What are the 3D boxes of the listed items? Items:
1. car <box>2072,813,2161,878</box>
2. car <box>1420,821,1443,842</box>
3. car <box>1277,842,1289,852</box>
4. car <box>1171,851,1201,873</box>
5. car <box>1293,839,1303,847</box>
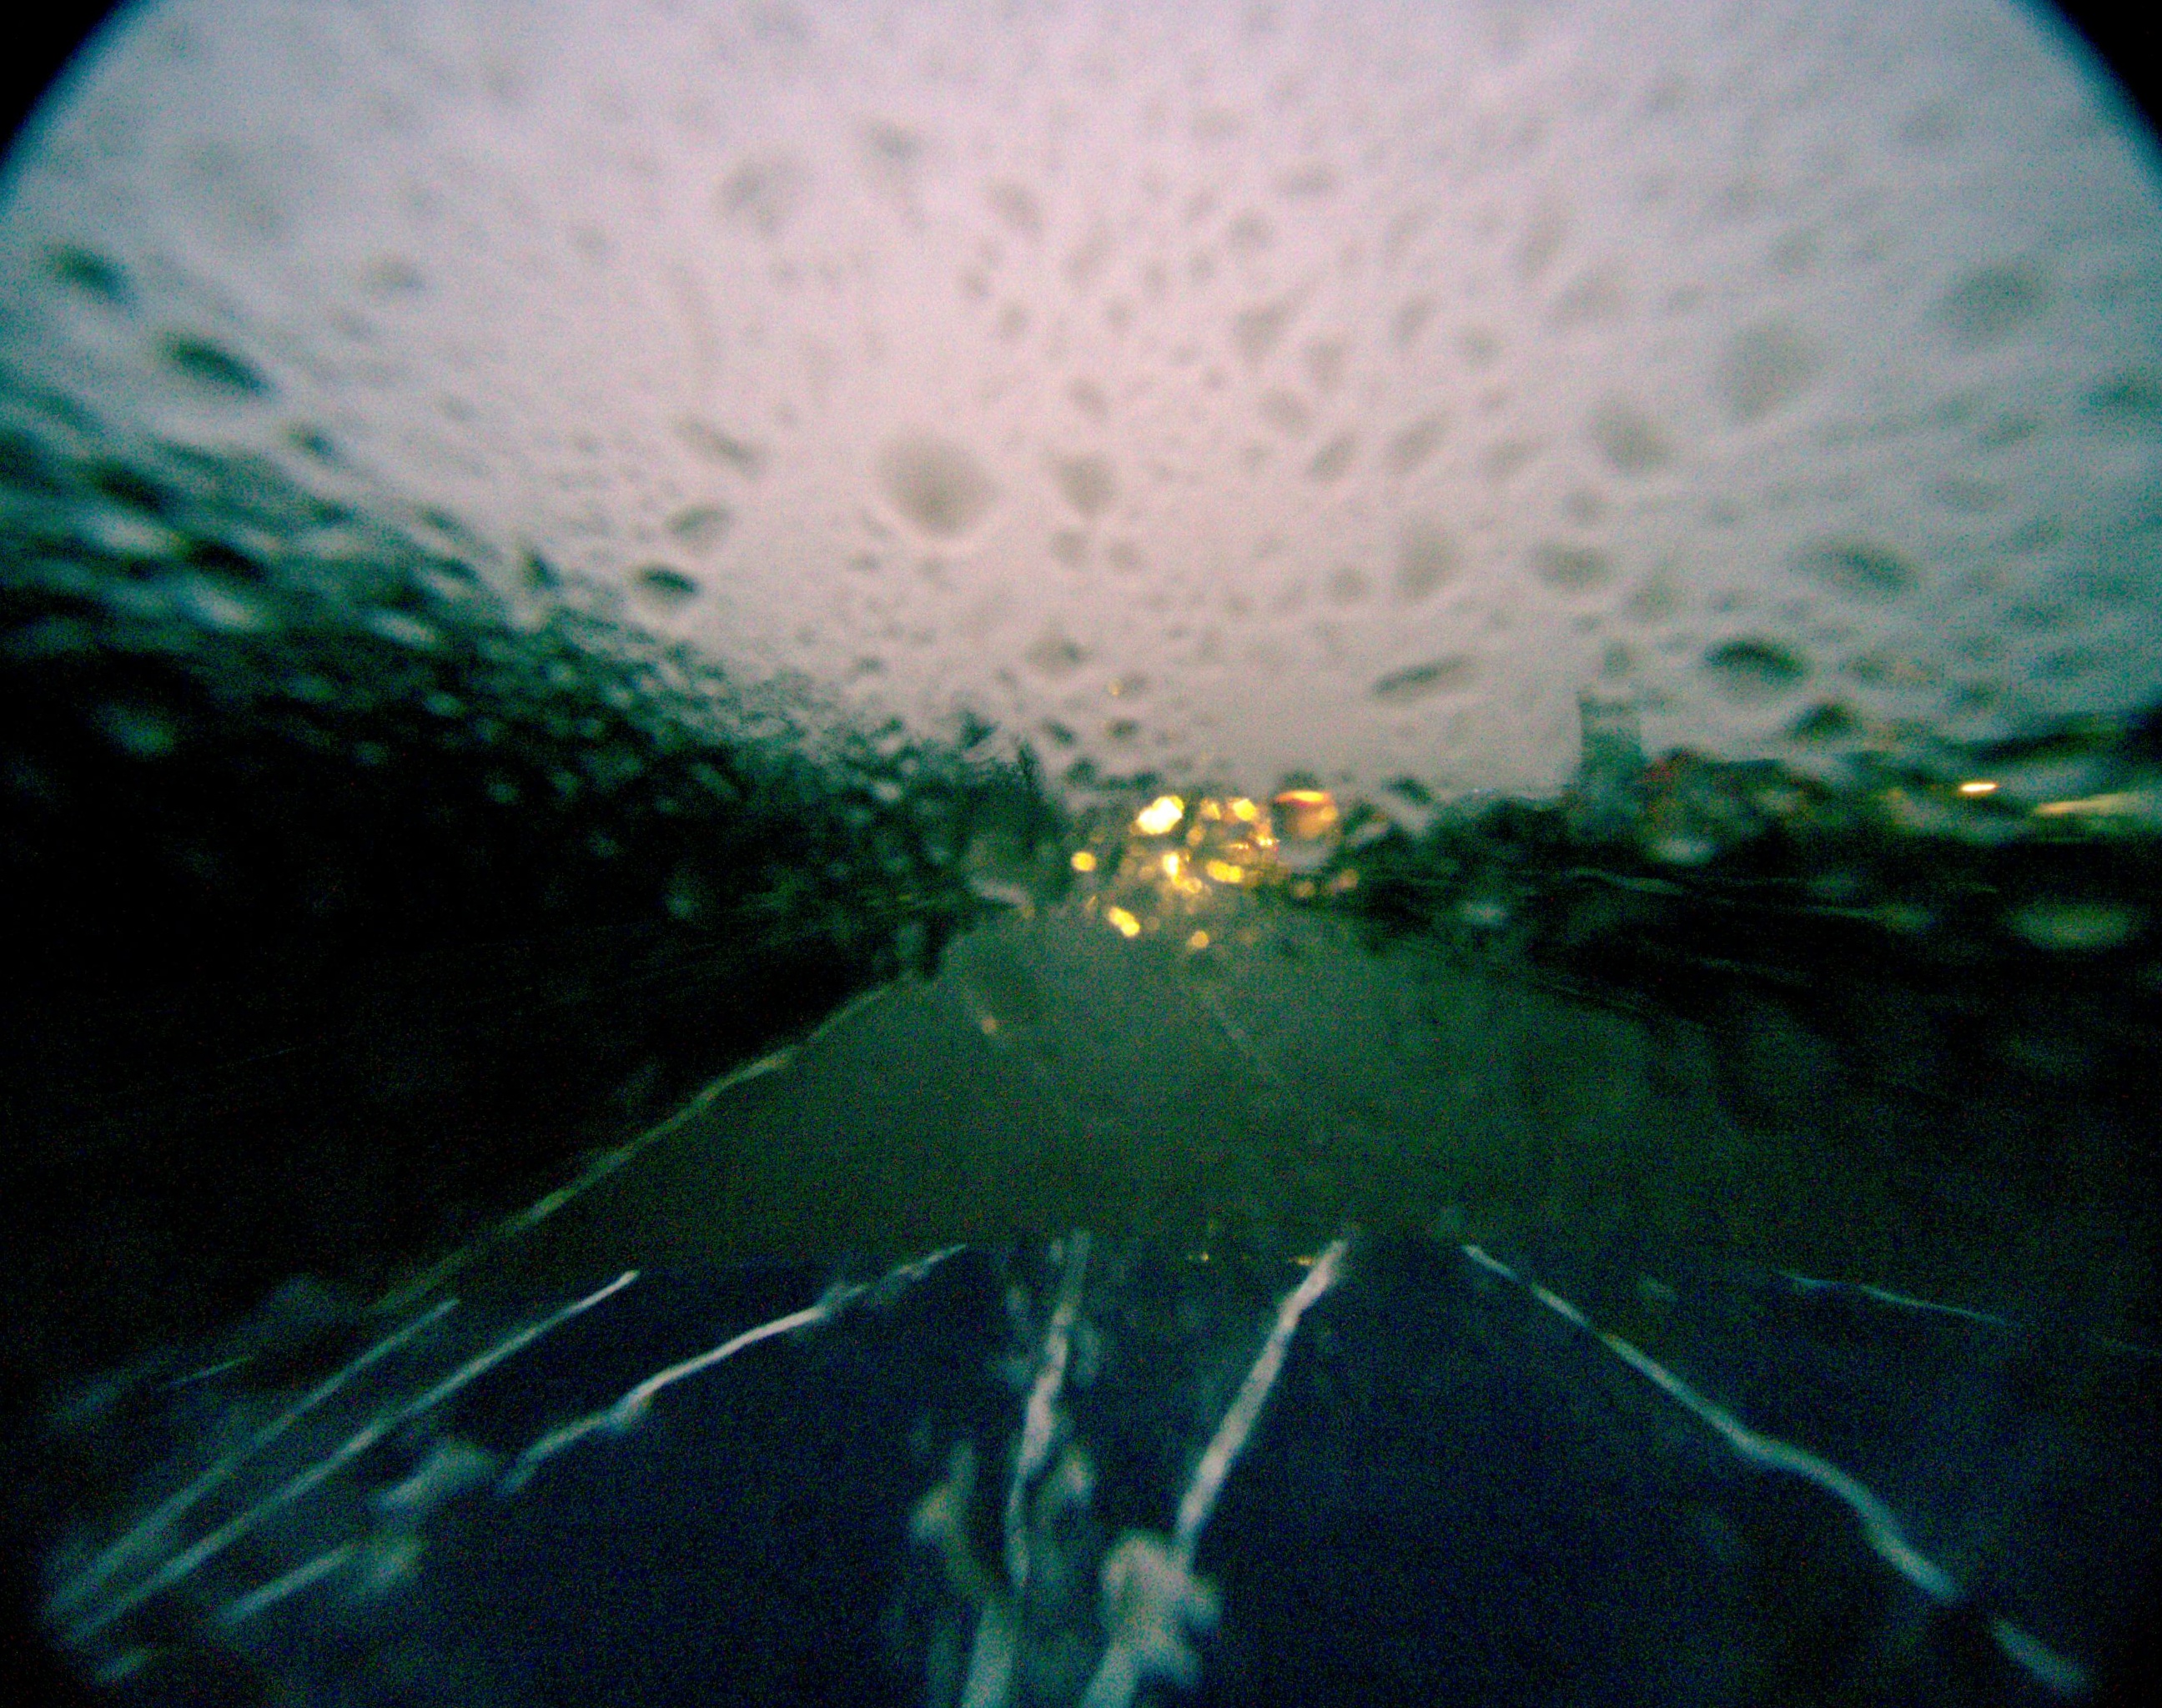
[{"bbox_3d":[34.396,-0.280,22.239,1.999,2.002,6.488,-1,0,-5],"label":"car"},{"bbox_3d":[56.954,-3.663,123.418,3.194,3.192,9.954,0,2,25],"label":"car"},{"bbox_3d":[31.841,-1.100,119.821,1.673,1.412,4.085,-1,1,16],"label":"car"},{"bbox_3d":[10.838,0.805,78.042,1.996,2.002,4.005,-4,1,22],"label":"car"},{"bbox_3d":[44.810,-2.293,156.954,1.996,1.663,4.432,-1,1,14],"label":"car"}]
